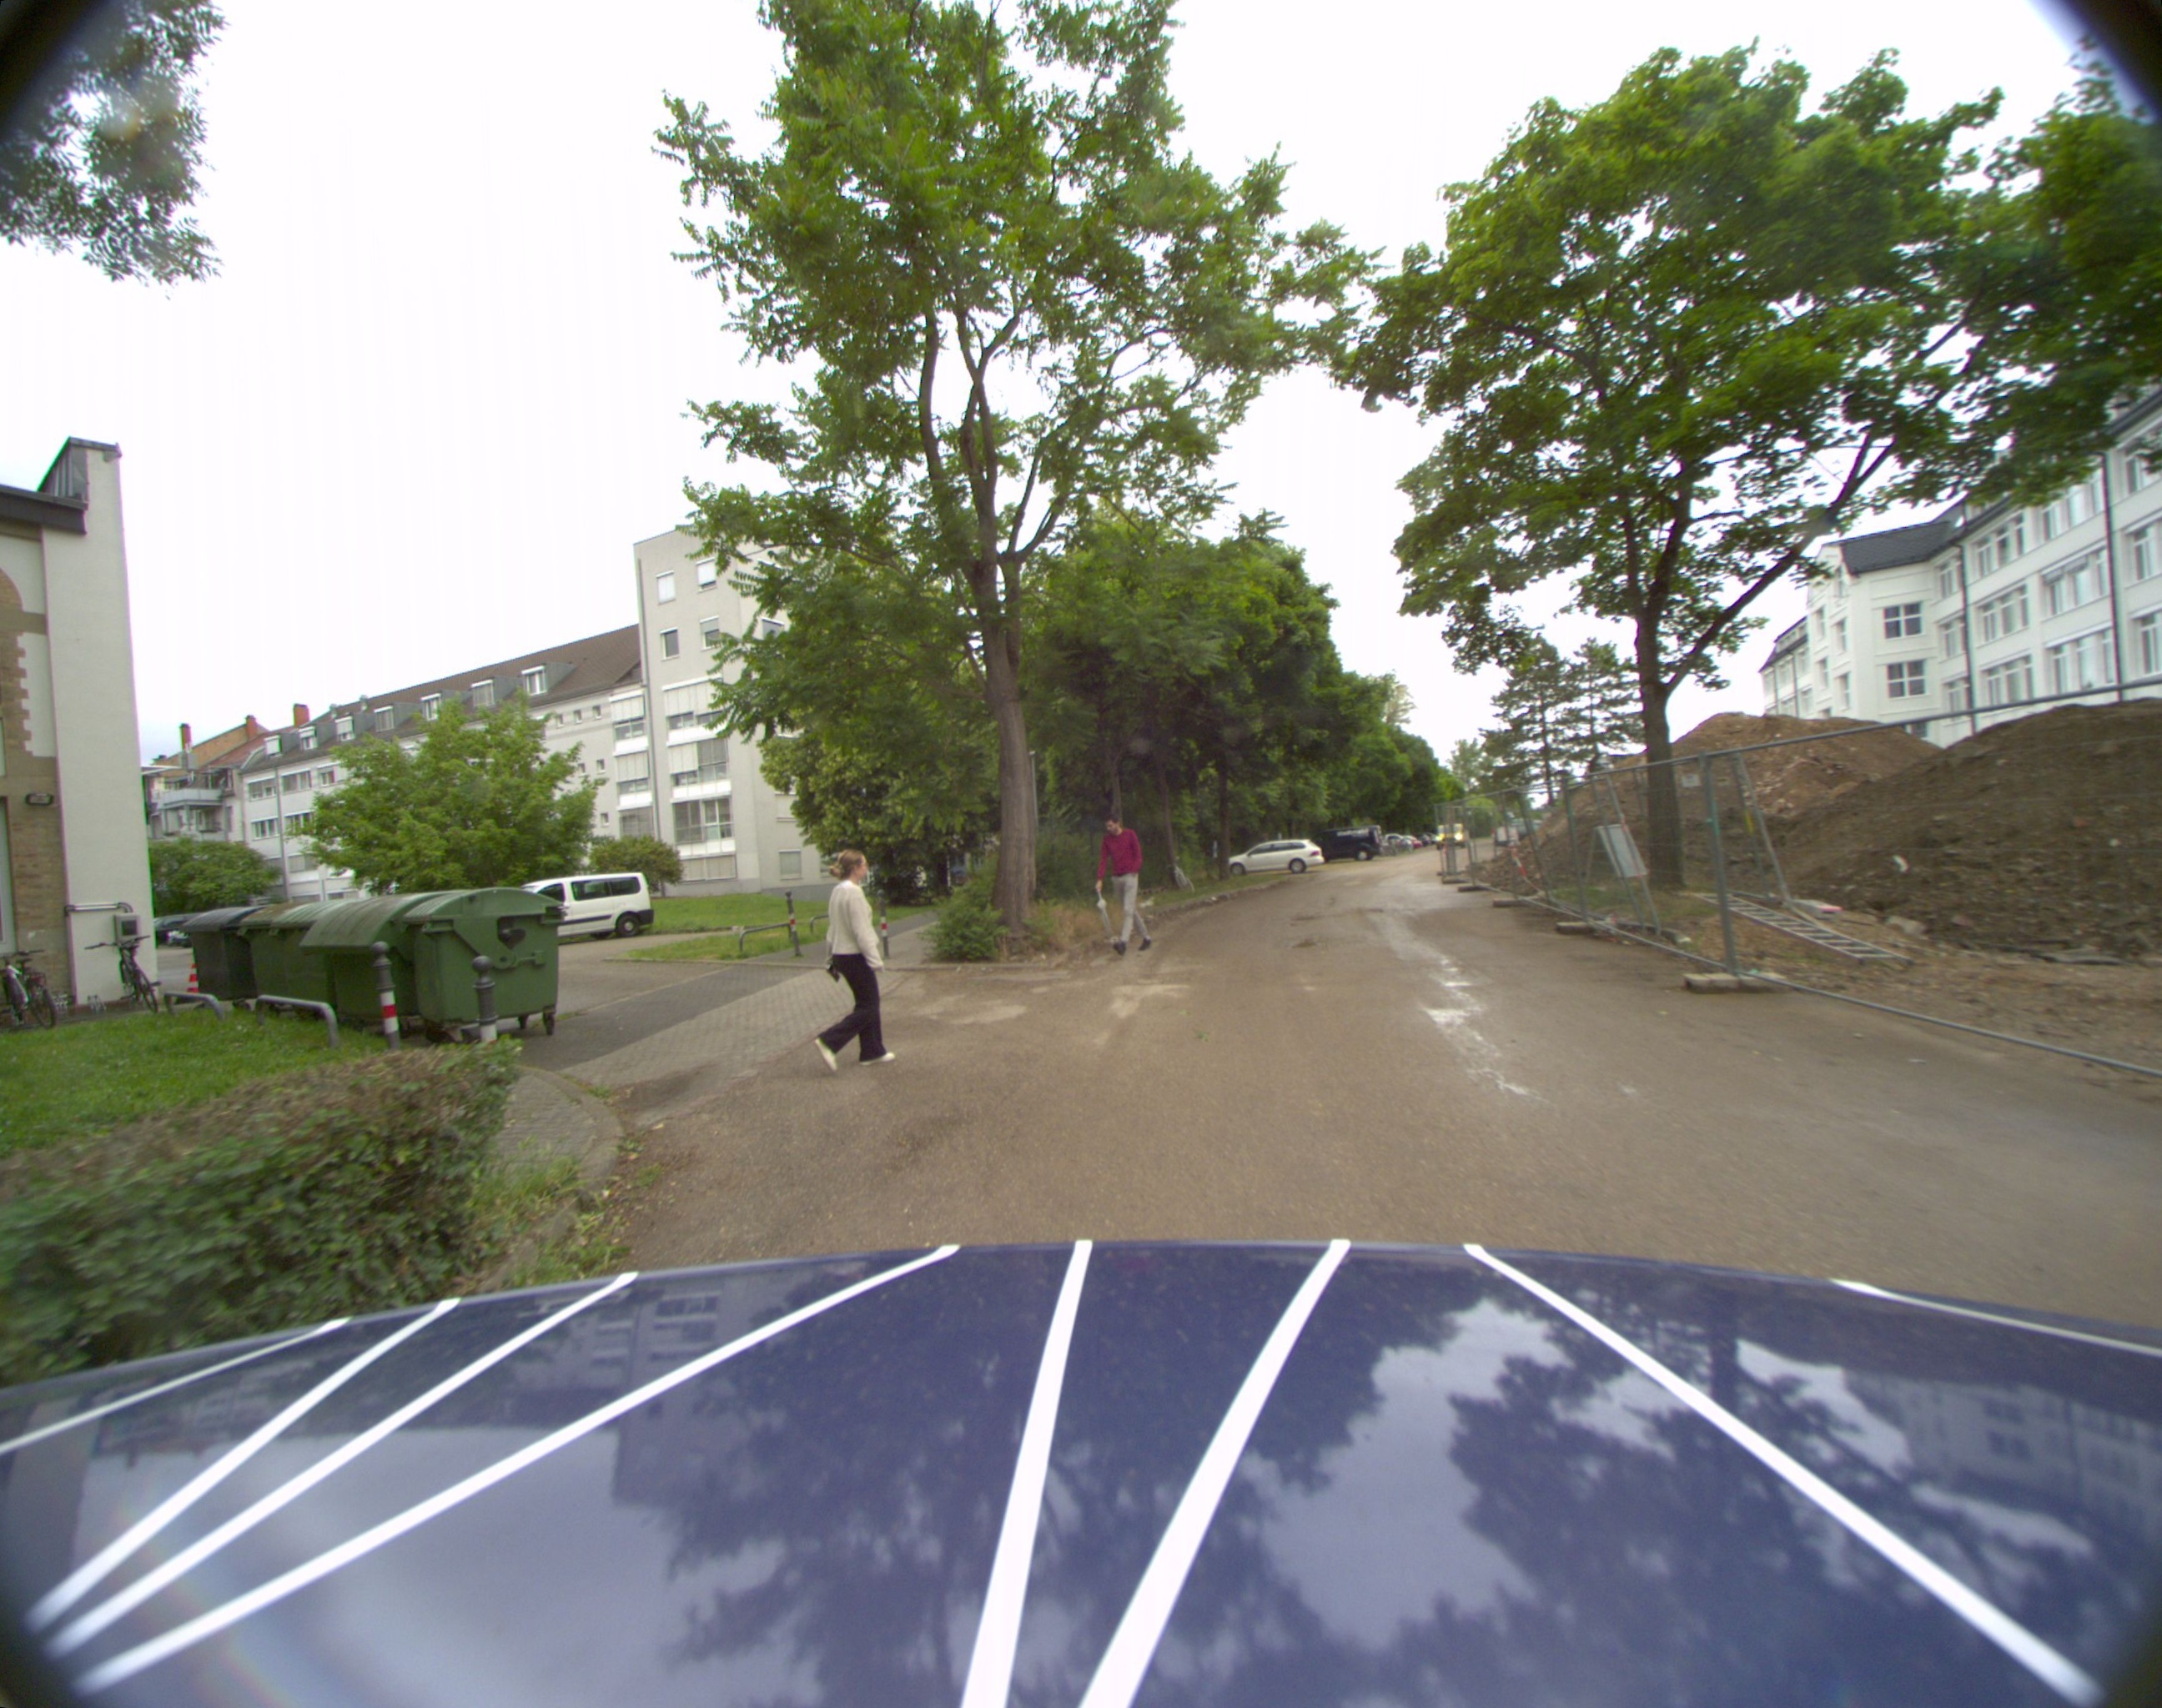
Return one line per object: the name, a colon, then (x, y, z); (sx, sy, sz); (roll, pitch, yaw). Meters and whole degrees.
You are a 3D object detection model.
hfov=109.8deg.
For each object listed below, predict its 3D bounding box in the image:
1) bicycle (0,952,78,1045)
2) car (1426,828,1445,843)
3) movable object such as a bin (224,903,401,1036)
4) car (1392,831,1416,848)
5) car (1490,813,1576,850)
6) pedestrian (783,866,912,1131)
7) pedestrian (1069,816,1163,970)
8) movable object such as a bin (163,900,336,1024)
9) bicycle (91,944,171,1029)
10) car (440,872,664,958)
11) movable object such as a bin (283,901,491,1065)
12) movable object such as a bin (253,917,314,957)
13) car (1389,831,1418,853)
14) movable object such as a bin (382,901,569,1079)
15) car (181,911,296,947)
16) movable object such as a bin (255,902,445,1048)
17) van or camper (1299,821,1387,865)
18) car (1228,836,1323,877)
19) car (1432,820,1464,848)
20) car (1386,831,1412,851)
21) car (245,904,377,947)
bicycle: (-14.368, 1.950, 10.467); (1.740, 1.108, 0.461); (-4, 1, 32)
car: (42.884, -2.265, 91.890); (1.995, 1.586, 4.006); (-3, 0, 25)
movable object such as a bin: (-9.633, 1.409, 9.548); (1.323, 1.442, 1.110); (-4, 1, 26)
car: (32.097, -1.452, 75.418); (1.995, 1.586, 4.006); (-3, 0, 25)
car: (26.256, -1.291, 44.156); (3.989, 1.827, 2.004); (-3, 1, 38)
pedestrian: (-1.740, 0.997, 5.637); (0.752, 1.771, 0.662); (-4, 1, -21)
pedestrian: (0.520, 0.521, 10.768); (0.793, 2.052, 1.203); (-3, 1, 26)
movable object such as a bin: (-11.056, 1.404, 10.125); (1.359, 1.442, 1.110); (-4, 1, 25)
bicycle: (-13.986, 1.911, 11.179); (1.740, 1.108, 0.461); (-4, 1, 31)
car: (-15.008, 1.671, 21.871); (1.897, 1.862, 4.781); (-6, -1, 32)
movable object such as a bin: (-7.187, 1.279, 7.900); (1.283, 1.442, 1.110); (-4, 1, 26)
movable object such as a bin: (-29.332, 3.056, 27.959); (1.225, 1.299, 1.183); (-5, 0, 29)
car: (24.747, -0.937, 58.399); (1.818, 1.586, 4.005); (-3, 0, 21)
movable object such as a bin: (-5.806, 1.212, 7.289); (1.272, 1.426, 1.074); (-3, 1, 39)
car: (-53.121, 4.730, 48.020); (1.995, 1.724, 4.348); (-4, 0, 24)
movable object such as a bin: (-8.414, 1.344, 8.776); (1.291, 1.442, 1.110); (-4, 1, 26)
van or camper: (15.411, -0.637, 44.712); (4.490, 2.245, 2.003); (-3, 1, 31)
car: (8.680, 0.104, 33.871); (3.879, 1.565, 1.754); (-3, 1, 18)
car: (29.584, -1.621, 61.336); (2.120, 2.002, 4.006); (-3, 0, 24)
car: (28.622, -1.193, 68.408); (1.996, 1.586, 4.005); (-3, 0, 23)
car: (-40.399, 3.739, 39.989); (1.995, 1.724, 4.348); (-4, 0, 24)
